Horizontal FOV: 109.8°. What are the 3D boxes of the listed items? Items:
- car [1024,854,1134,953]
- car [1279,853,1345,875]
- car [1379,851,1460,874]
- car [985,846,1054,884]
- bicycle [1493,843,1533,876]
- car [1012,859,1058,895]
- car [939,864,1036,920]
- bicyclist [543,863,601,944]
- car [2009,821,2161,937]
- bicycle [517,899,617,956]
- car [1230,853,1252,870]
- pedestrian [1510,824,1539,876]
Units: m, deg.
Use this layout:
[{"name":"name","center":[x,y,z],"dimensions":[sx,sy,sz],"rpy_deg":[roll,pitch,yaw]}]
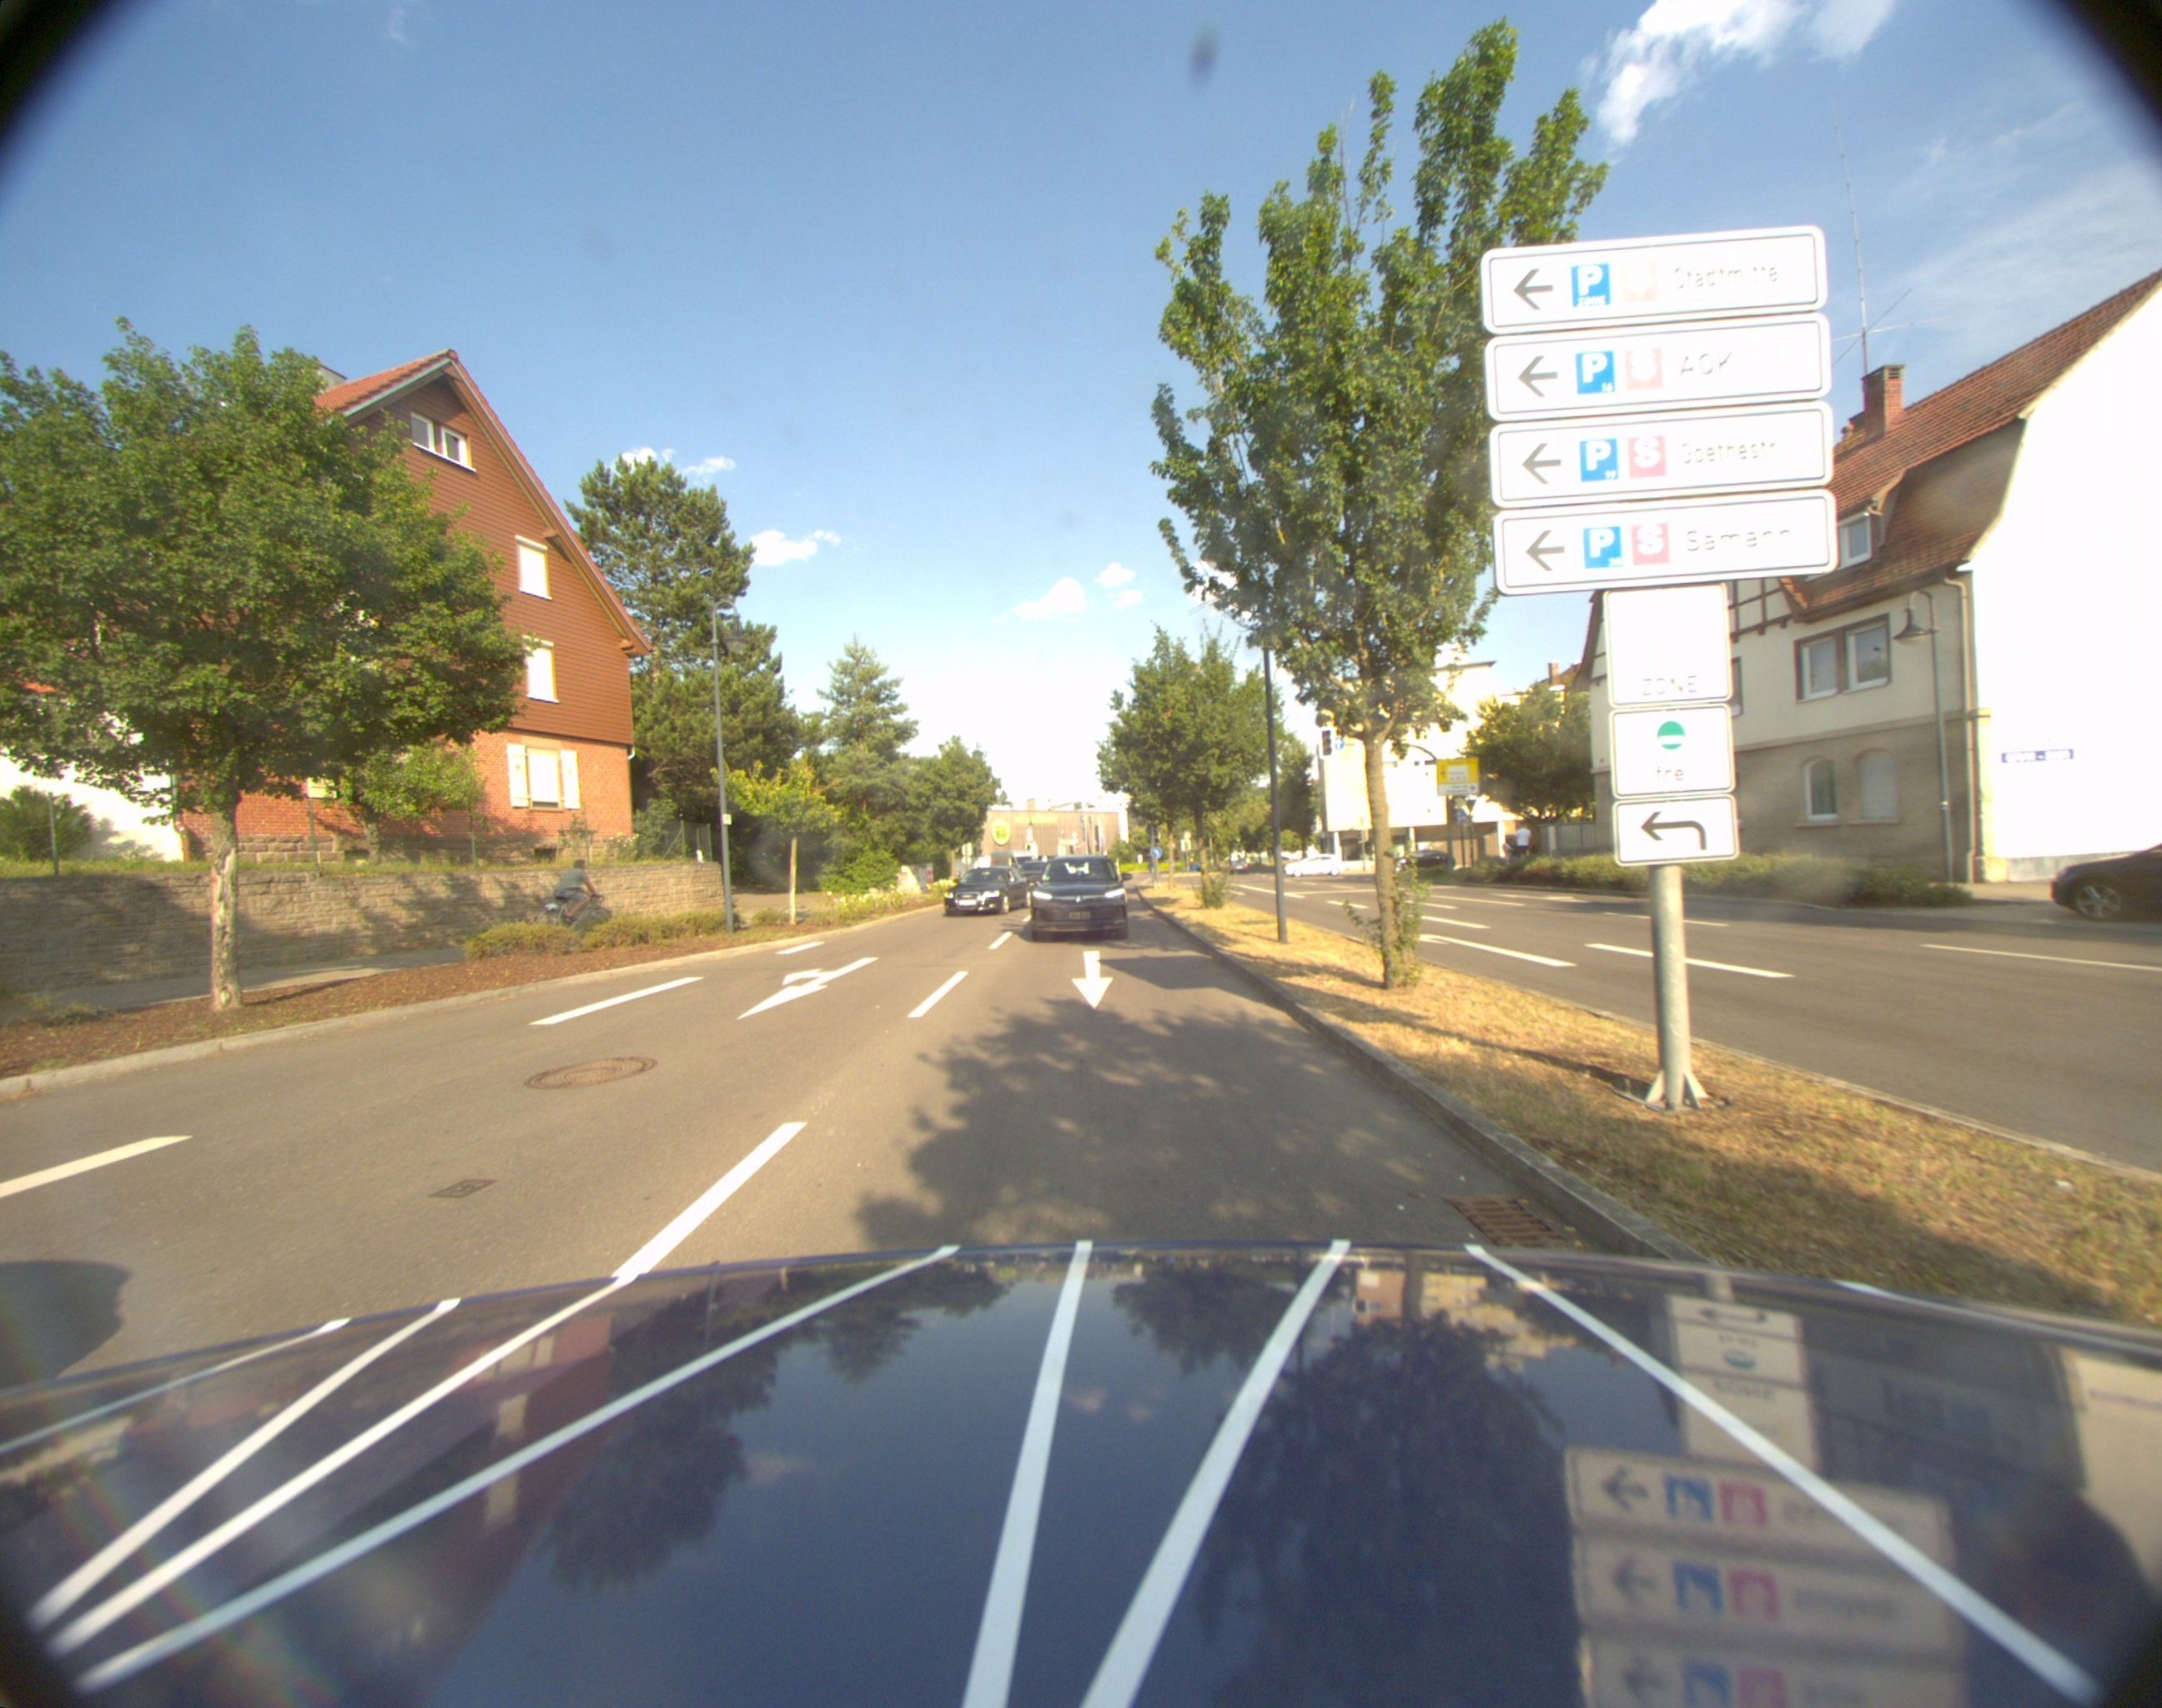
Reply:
[{"name":"car","center":[-0.007,0.879,15.807],"dimensions":[1.894,1.647,4.729],"rpy_deg":[-2,0,1]},{"name":"car","center":[16.011,0.680,52.851],"dimensions":[4.126,1.346,1.768],"rpy_deg":[-2,1,6]},{"name":"car","center":[22.896,0.568,51.578],"dimensions":[4.661,1.346,1.768],"rpy_deg":[-2,1,8]},{"name":"car","center":[-4.593,0.817,55.813],"dimensions":[2.376,2.532,6.178],"rpy_deg":[-3,1,-32]},{"name":"bicycle","center":[16.966,0.214,29.866],"dimensions":[0.681,1.215,1.514],"rpy_deg":[-2,1,2]},{"name":"car","center":[-2.243,1.094,38.035],"dimensions":[1.886,1.599,4.127],"rpy_deg":[-2,0,1]},{"name":"car","center":[-2.799,1.125,23.839],"dimensions":[1.684,1.427,4.592],"rpy_deg":[-2,0,10]},{"name":"bicyclist","center":[-10.894,1.048,16.272],"dimensions":[0.603,1.668,0.735],"rpy_deg":[-2,1,13]},{"name":"car","center":[15.533,0.322,9.833],"dimensions":[1.839,1.435,4.194],"rpy_deg":[-6,0,0]},{"name":"bicycle","center":[-10.906,1.540,16.216],"dimensions":[0.522,1.012,1.877],"rpy_deg":[-2,1,13]},{"name":"car","center":[14.462,0.692,68.479],"dimensions":[1.764,1.346,4.165],"rpy_deg":[-2,0,13]},{"name":"pedestrian","center":[16.924,-0.152,29.006],"dimensions":[0.699,1.971,0.588],"rpy_deg":[-2,1,2]}]
